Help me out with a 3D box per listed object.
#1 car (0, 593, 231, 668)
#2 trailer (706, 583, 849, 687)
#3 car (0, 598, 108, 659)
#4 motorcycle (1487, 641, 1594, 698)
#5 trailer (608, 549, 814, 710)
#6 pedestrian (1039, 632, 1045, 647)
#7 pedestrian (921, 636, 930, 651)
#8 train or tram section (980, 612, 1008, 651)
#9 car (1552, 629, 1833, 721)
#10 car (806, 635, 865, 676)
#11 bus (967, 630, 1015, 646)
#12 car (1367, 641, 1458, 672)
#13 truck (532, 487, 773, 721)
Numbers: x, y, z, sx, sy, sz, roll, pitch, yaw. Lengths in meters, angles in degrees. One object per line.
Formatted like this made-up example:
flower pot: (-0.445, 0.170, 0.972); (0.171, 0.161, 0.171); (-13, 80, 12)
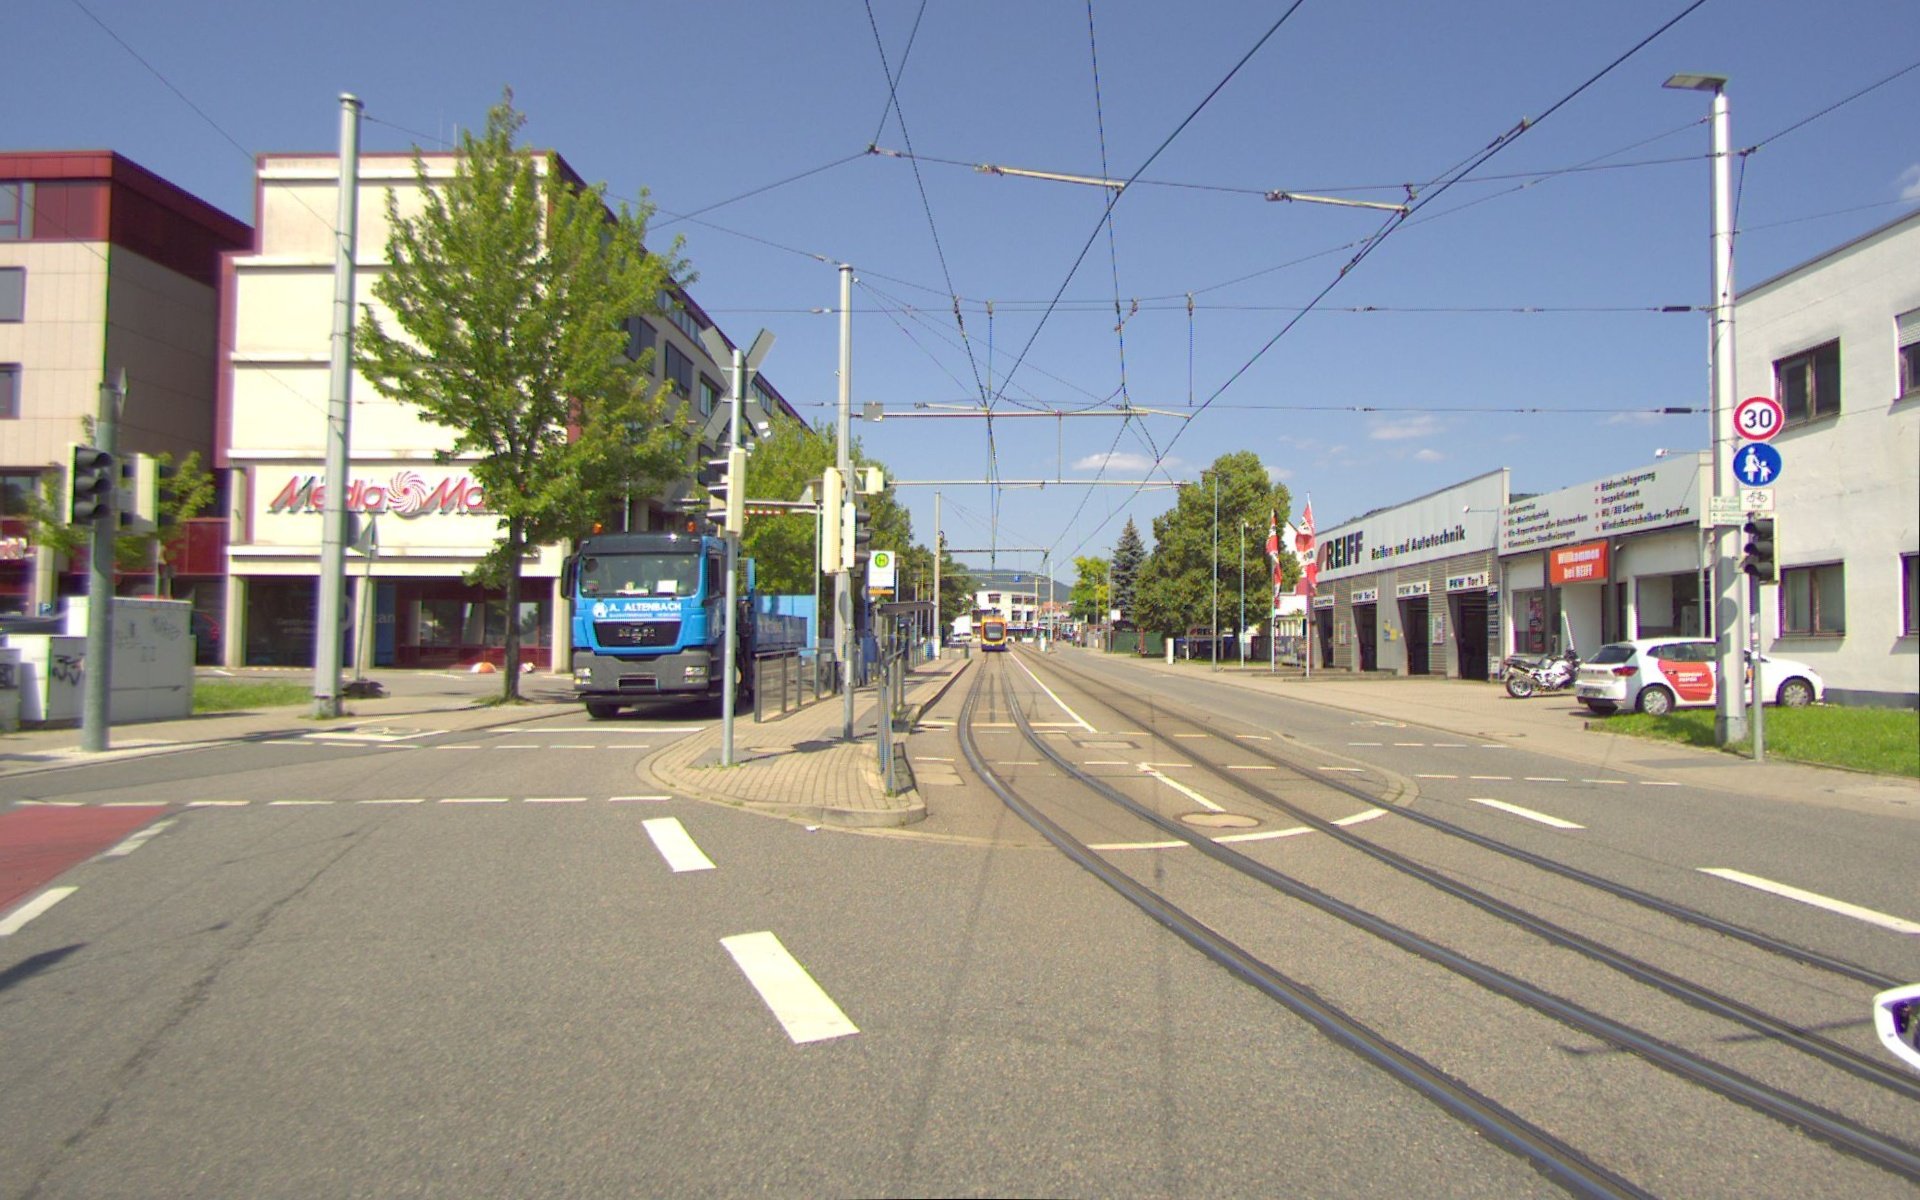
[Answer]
car: (-21.685, 0.830, 25.168); (2.154, 1.614, 5.095); (-3, -6, 39)
trailer: (-5.129, 1.022, 29.679); (2.750, 2.662, 7.603); (1, -2, 0)
car: (-24.986, 0.694, 25.577); (1.893, 1.512, 4.840); (-1, -4, 45)
motorcycle: (14.406, 1.717, 24.963); (2.147, 1.325, 0.731); (-2, -2, 0)
trailer: (-5.210, 0.661, 22.414); (2.698, 3.017, 6.900); (1, -2, 1)
pedestrian: (9.659, 4.614, 118.448); (0.731, 1.763, 0.727); (0, -2, 2)
pedestrian: (-3.438, 4.339, 100.095); (0.820, 1.557, 0.839); (0, -2, 2)
train or tram section: (3.204, 2.991, 94.900); (2.567, 3.579, 5.745); (0, -2, 2)
car: (13.909, 1.409, 19.261); (3.921, 1.481, 1.890); (-3, -2, 0)
car: (-4.808, 2.124, 39.397); (1.694, 1.492, 4.281); (-1, -2, 1)
bus: (5.825, 7.067, 186.460); (8.614, 2.917, 2.446); (1, -2, 6)
car: (22.187, 2.762, 49.291); (3.701, 1.394, 1.725); (1, -2, -3)
truck: (-5.304, 0.140, 18.315); (2.698, 3.656, 5.041); (1, -2, 1)
